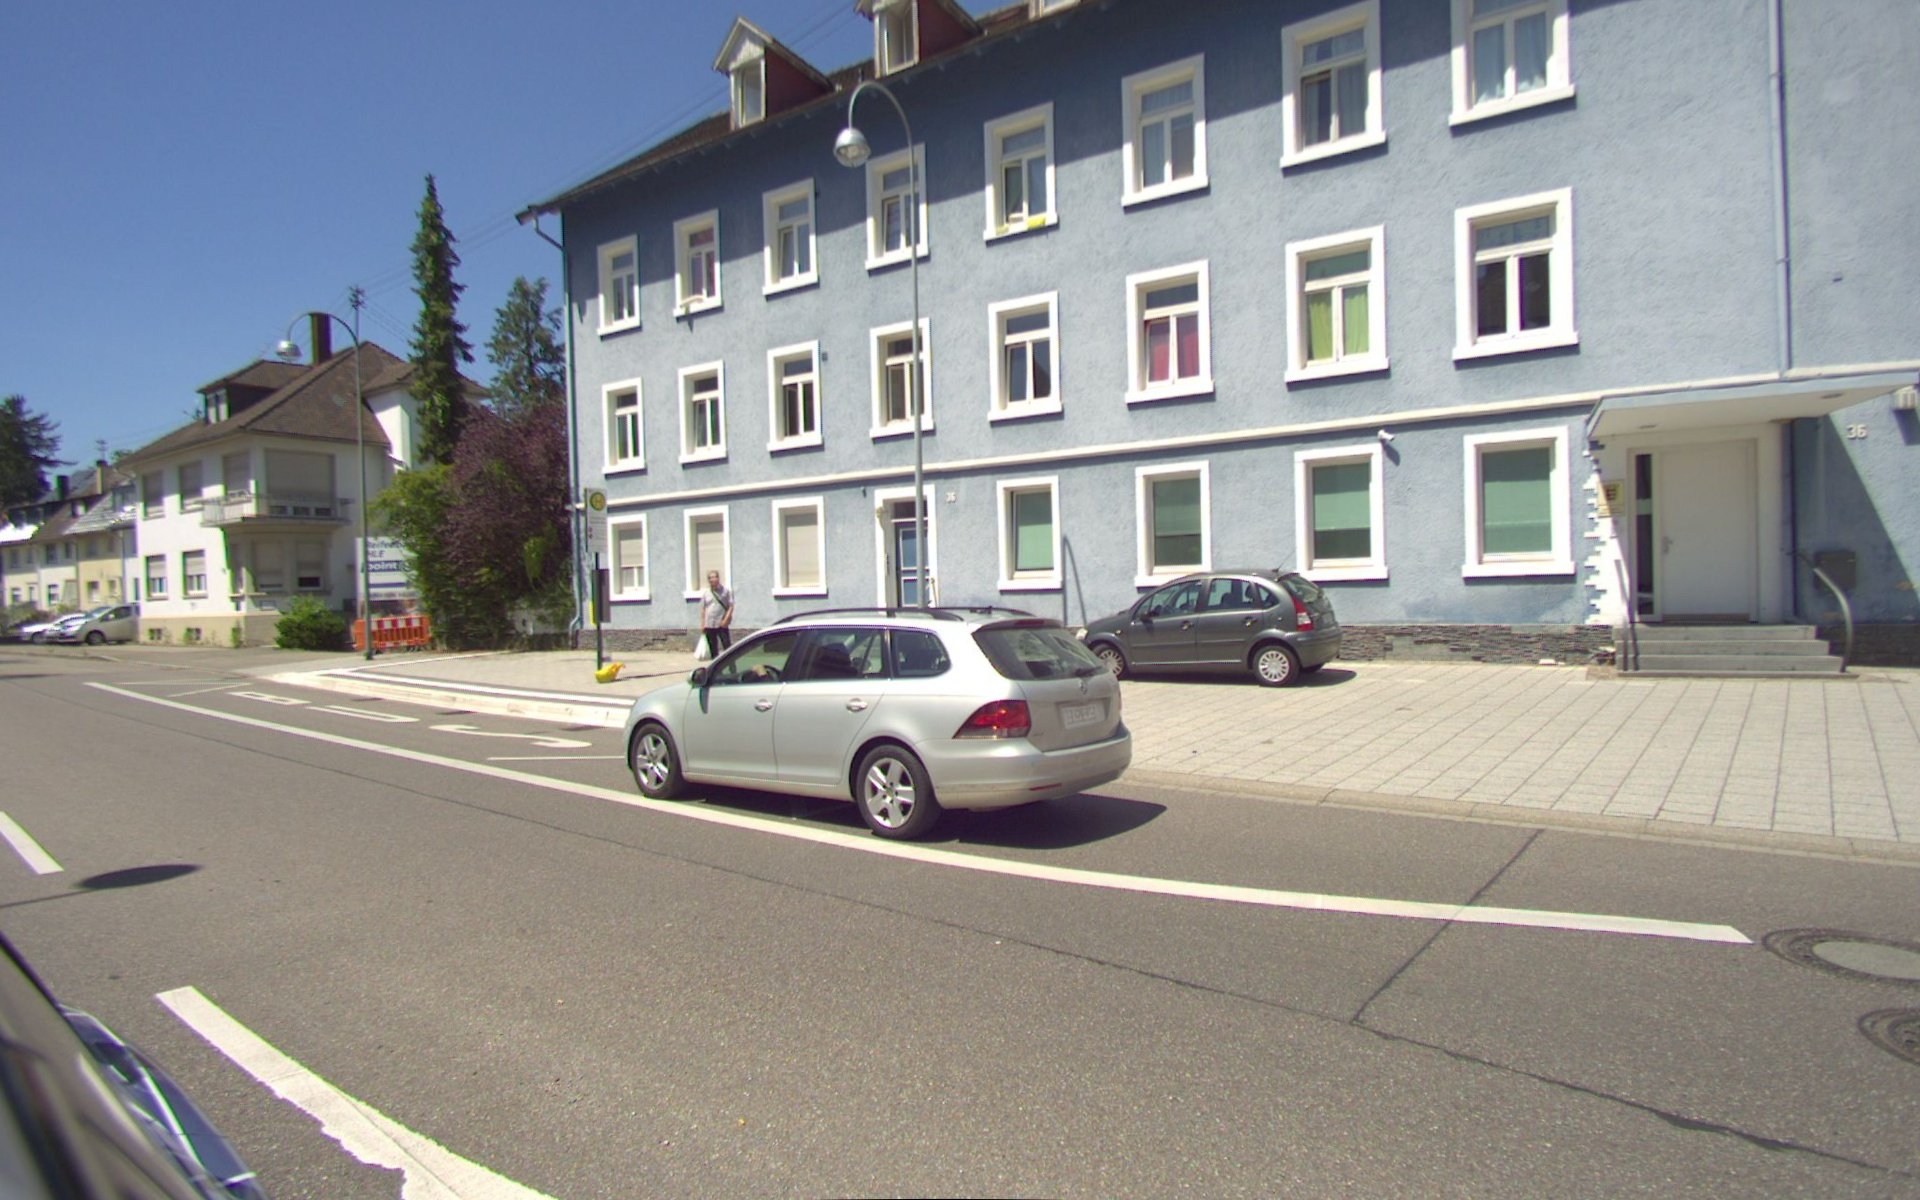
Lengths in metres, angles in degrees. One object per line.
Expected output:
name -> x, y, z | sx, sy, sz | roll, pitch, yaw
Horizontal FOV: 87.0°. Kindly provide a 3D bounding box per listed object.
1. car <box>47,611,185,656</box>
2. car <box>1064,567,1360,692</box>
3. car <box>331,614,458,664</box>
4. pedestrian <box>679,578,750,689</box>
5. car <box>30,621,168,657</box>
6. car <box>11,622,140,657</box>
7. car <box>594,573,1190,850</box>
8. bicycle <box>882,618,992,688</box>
car -> -37.033, 1.449, 44.520 | 1.841, 1.891, 4.324 | -2, -1, 27
car -> 3.488, 0.339, 14.255 | 3.766, 1.546, 1.564 | 0, 2, 35
car -> -20.983, 1.415, 37.716 | 1.554, 1.550, 3.906 | -11, -4, 21
pedestrian -> -4.292, 0.578, 17.696 | 0.769, 1.861, 0.750 | -3, 3, 33
car -> -39.007, 1.757, 45.949 | 1.972, 1.507, 4.431 | -2, -2, 36
car -> -41.554, 1.830, 47.672 | 4.201, 1.507, 1.882 | 0, -1, -24
car -> -0.684, 0.824, 7.717 | 4.384, 1.542, 1.821 | -4, -7, 36
bicycle -> -0.394, 0.827, 16.297 | 0.490, 0.984, 1.974 | -8, 5, -44
